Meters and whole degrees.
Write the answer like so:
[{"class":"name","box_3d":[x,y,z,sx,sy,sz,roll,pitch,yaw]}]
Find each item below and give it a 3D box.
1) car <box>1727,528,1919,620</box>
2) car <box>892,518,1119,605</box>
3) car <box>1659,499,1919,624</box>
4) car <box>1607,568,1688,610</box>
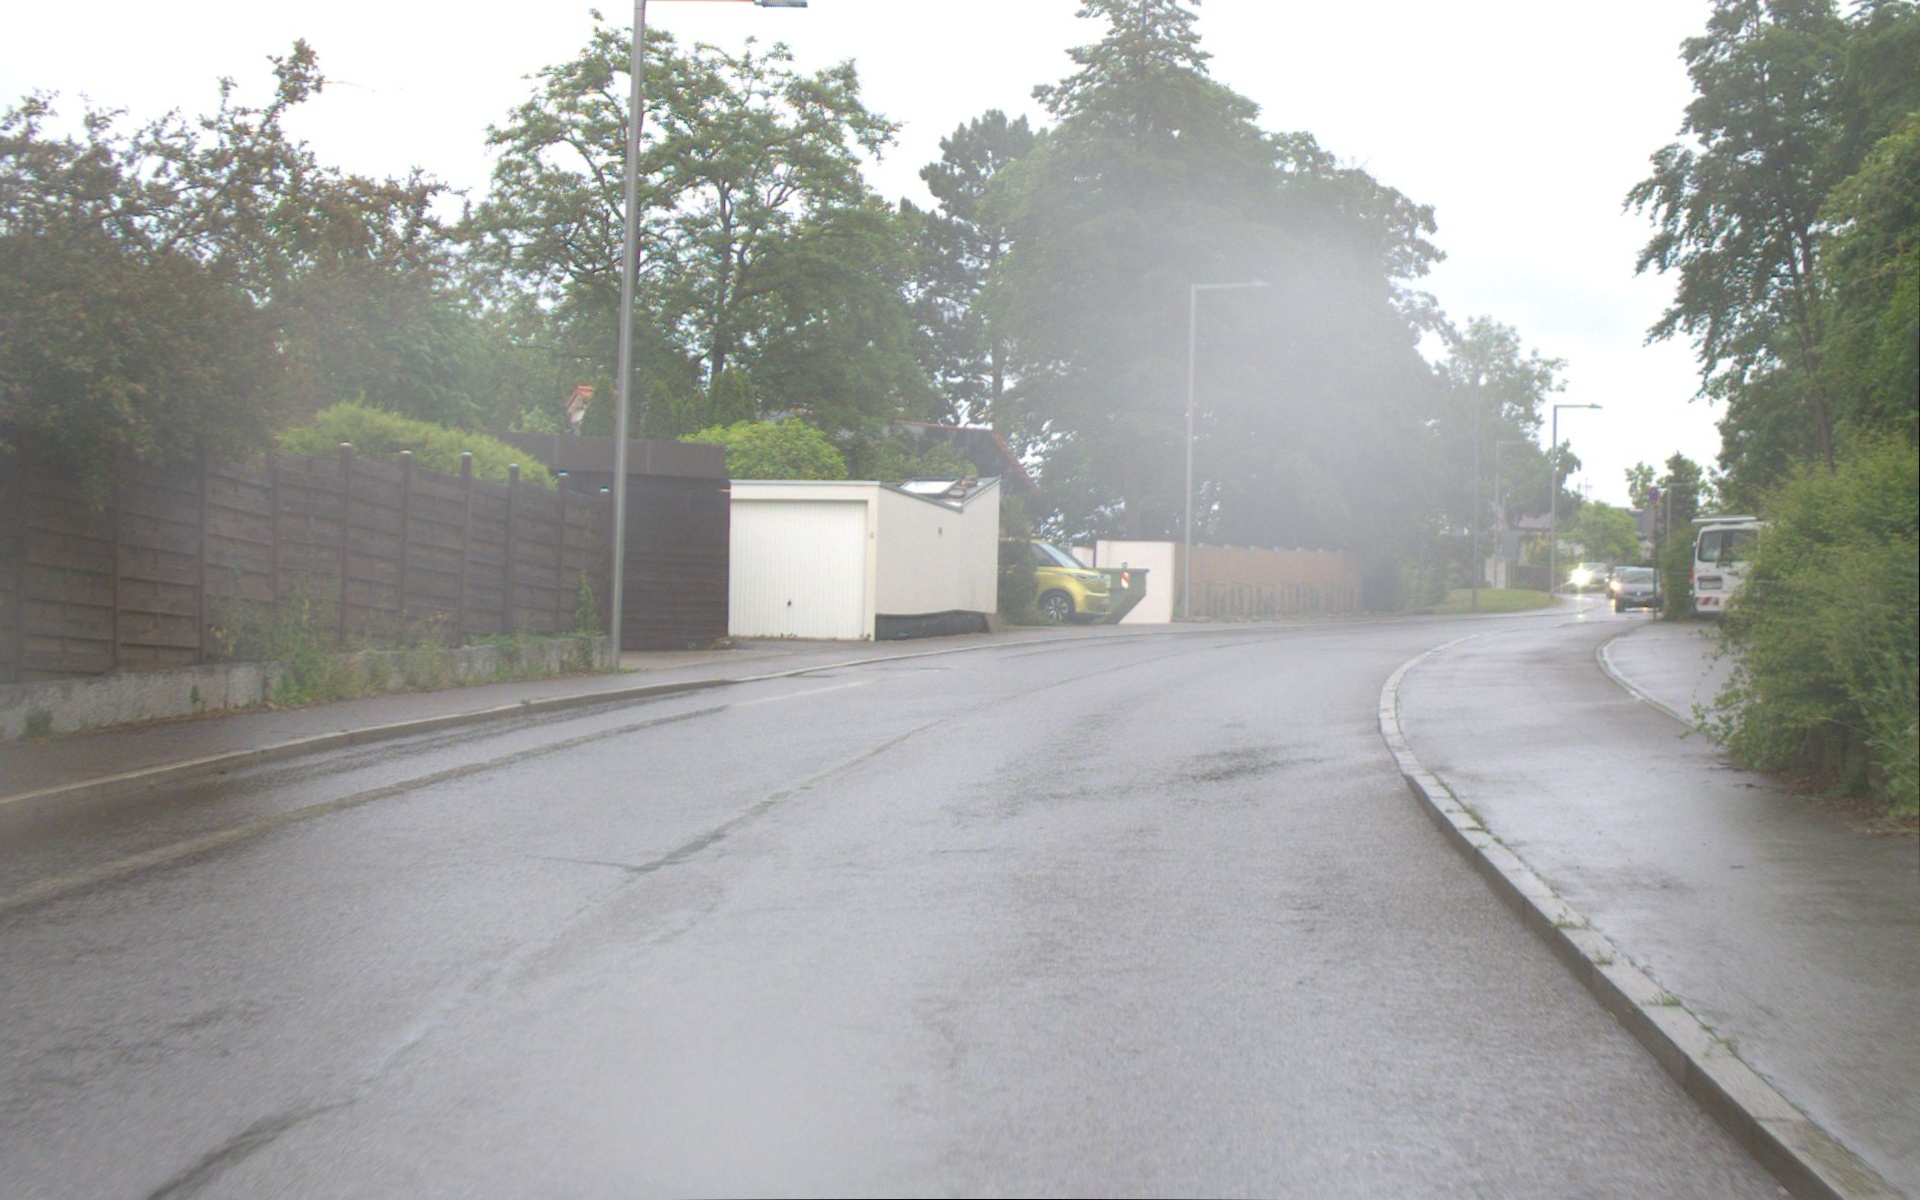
[{"class":"car","box_3d":[13.704,-0.410,52.310,3.784,1.344,1.762,-1,1,-31]},{"class":"car","box_3d":[0.992,-0.836,74.630,4.507,1.853,2.087,0,1,19]},{"class":"car","box_3d":[13.854,-0.644,55.528,4.826,1.934,2.156,-1,1,-31]},{"class":"car","box_3d":[25.122,-0.411,125.526,1.836,1.506,4.611,0,0,25]}]
